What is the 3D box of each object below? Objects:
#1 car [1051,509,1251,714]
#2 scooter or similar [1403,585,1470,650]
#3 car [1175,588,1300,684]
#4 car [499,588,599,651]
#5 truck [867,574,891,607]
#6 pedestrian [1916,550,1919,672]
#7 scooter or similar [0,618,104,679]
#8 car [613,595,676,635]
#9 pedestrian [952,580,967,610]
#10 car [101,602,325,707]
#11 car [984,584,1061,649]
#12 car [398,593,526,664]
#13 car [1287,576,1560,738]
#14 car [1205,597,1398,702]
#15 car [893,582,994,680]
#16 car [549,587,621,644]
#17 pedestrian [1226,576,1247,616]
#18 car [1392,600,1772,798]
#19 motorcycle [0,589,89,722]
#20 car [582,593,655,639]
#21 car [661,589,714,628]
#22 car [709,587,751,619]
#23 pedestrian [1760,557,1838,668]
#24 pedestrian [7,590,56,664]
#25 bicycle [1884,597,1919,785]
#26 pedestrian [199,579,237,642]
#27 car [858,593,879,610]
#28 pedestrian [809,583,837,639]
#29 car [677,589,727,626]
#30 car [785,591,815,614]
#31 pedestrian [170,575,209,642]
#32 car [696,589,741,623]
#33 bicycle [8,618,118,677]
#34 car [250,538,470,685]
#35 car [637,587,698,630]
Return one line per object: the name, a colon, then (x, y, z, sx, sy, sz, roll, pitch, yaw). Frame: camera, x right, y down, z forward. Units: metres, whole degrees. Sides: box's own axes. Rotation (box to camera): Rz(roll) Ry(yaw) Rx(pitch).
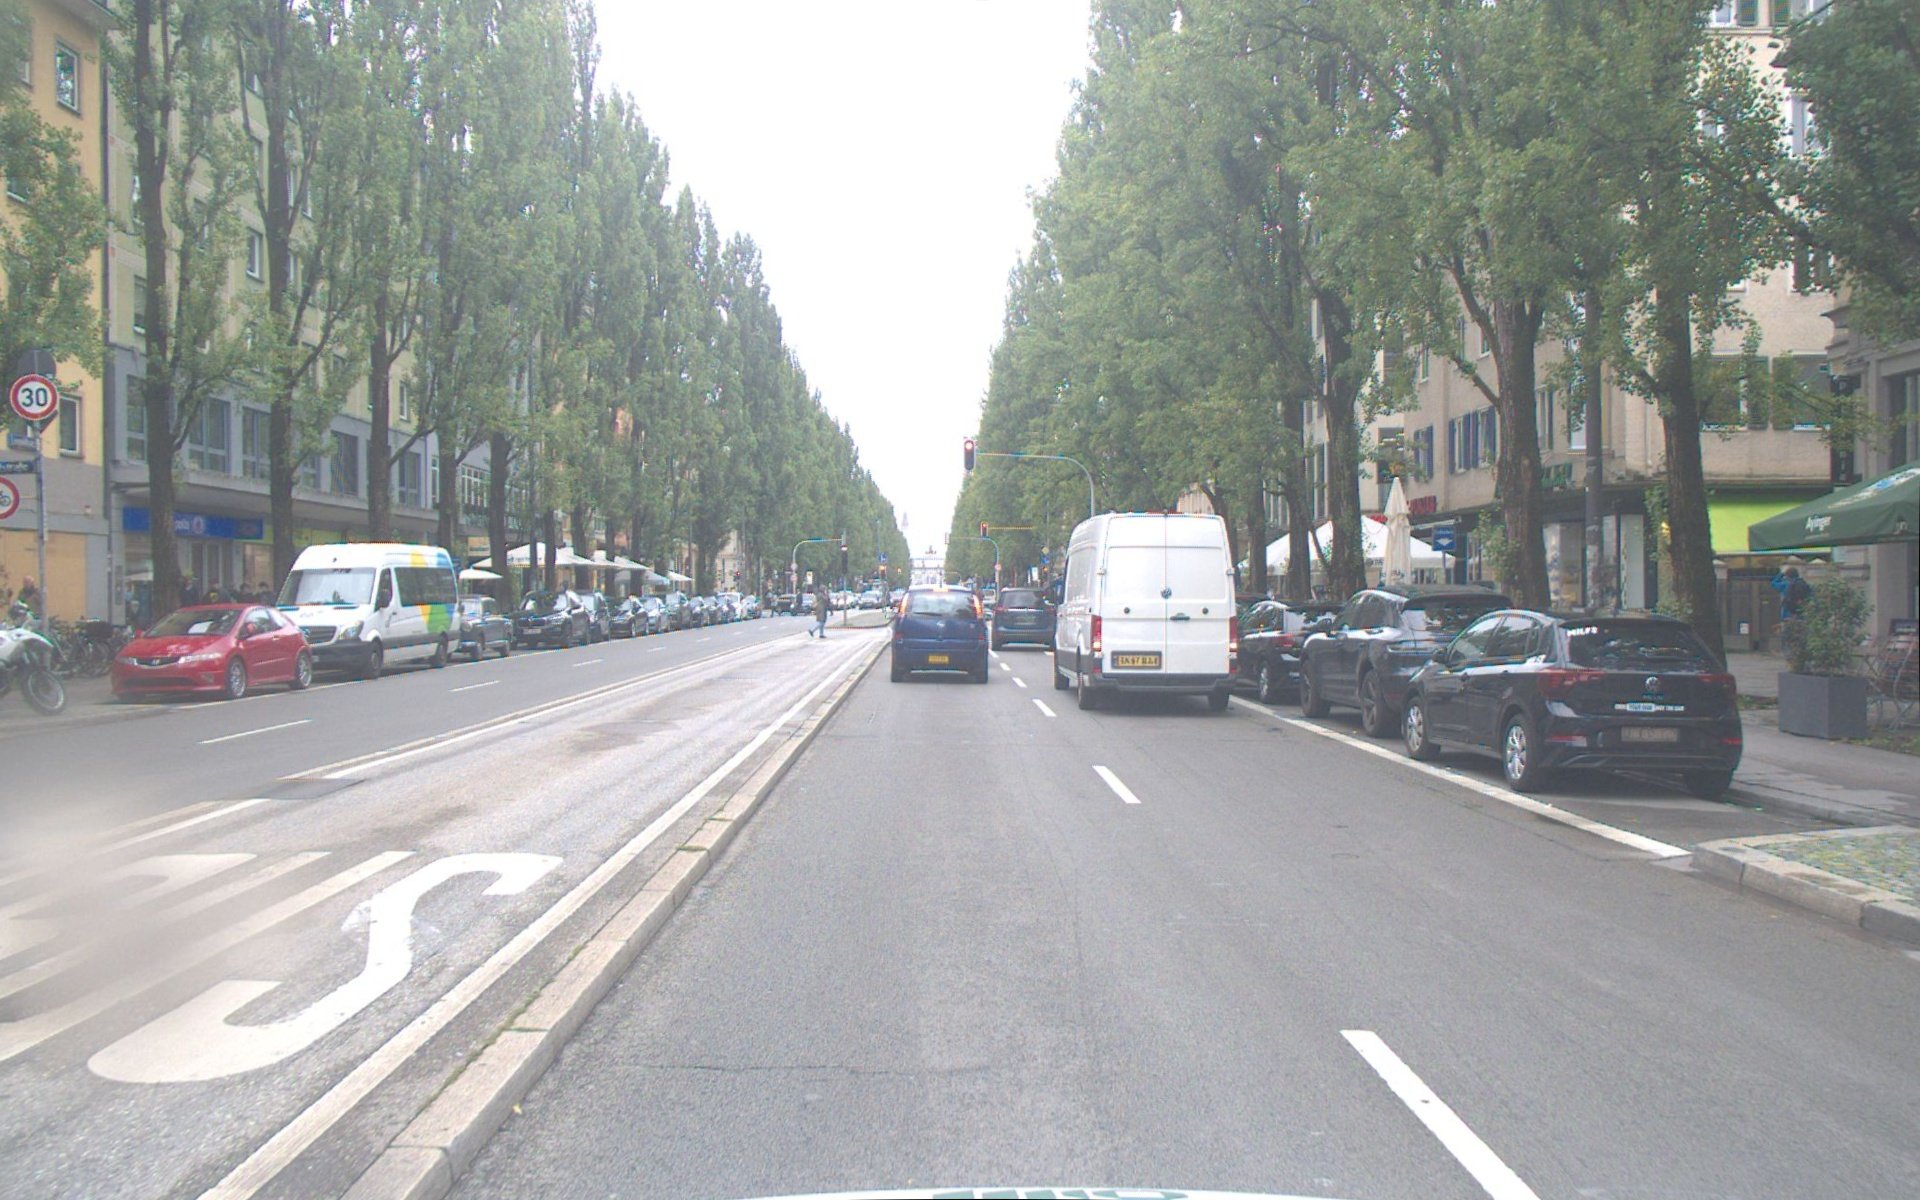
car: (2.566, 0.118, 23.994, 2.021, 2.536, 6.729, 0, 0, -1)
scooter or similar: (11.005, 0.387, 38.278, 0.624, 1.400, 2.493, -2, 1, -5)
car: (4.747, 0.588, 28.595, 1.560, 1.544, 2.728, 1, 0, -3)
car: (-12.061, 0.532, 48.841, 1.828, 1.693, 4.610, -2, 0, -1)
truck: (-8.630, -1.004, 176.445, 2.334, 3.405, 7.109, 0, 0, -1)
pedestrian: (14.659, 0.164, 24.329, 0.856, 1.827, 0.774, 0, 0, 17)
scooter or similar: (-16.429, 0.869, 29.788, 1.738, 1.044, 0.421, -1, 0, -4)
car: (-12.358, 0.559, 65.031, 1.698, 1.450, 4.142, -2, 0, -1)
pedestrian: (-0.031, -0.331, 103.215, 0.707, 1.859, 0.885, 1, 0, -11)
car: (-11.779, 0.803, 26.396, 1.702, 1.444, 4.147, -2, 0, -1)
car: (1.626, 0.418, 44.358, 1.858, 1.650, 3.999, 0, 0, -1)
car: (-12.110, 0.650, 40.480, 1.828, 1.579, 4.413, -2, 0, -1)
car: (5.268, 0.584, 19.432, 1.767, 1.666, 4.445, 1, 0, -3)
car: (5.012, 0.678, 24.872, 1.676, 1.418, 4.339, 0, 0, -5)
car: (-0.299, 0.495, 29.107, 1.637, 1.596, 3.999, 0, 0, -1)
car: (-12.279, 0.485, 54.337, 1.676, 1.751, 3.919, -2, 0, -4)
pedestrian: (11.990, -0.152, 71.735, 0.660, 1.715, 0.758, -1, -1, -5)
car: (5.170, 0.741, 14.334, 1.660, 1.441, 3.949, 0, 0, -3)
motorcycle: (-11.909, 0.663, 20.020, 2.329, 1.591, 0.703, 0, 0, -44)
car: (-12.288, 0.554, 59.805, 1.762, 1.514, 4.349, -2, 0, -1)
car: (-12.645, 0.380, 77.025, 1.828, 1.694, 4.119, -2, 0, -1)
car: (-12.880, 0.170, 92.759, 1.828, 1.694, 4.119, -2, 0, -1)
pedestrian: (13.193, 0.188, 26.025, 0.781, 1.707, 0.877, 0, 0, -1)
pedestrian: (-21.123, 0.601, 37.628, 0.683, 1.664, 0.727, -1, 0, 1)
bicycle: (7.439, 0.660, 11.285, 0.757, 1.372, 2.448, -4, 0, -2)
pedestrian: (-20.454, 0.290, 45.589, 0.683, 1.729, 0.727, -1, 0, 3)
car: (-8.120, 0.141, 147.156, 1.699, 1.491, 3.364, 0, 0, -1)
pedestrian: (-4.186, 0.325, 50.591, 0.843, 1.714, 0.626, 0, 0, -4)
car: (-12.750, 0.339, 81.973, 1.828, 1.694, 4.119, -2, 0, -1)
car: (-11.085, 0.148, 115.011, 1.663, 1.488, 4.712, -2, 0, -1)
pedestrian: (-21.258, 0.221, 45.634, 0.683, 1.826, 0.727, -1, 0, 3)
car: (-12.757, 0.279, 87.500, 1.828, 1.694, 4.119, -2, 0, -1)
bicycle: (-16.494, 0.869, 30.424, 1.738, 1.044, 0.421, -1, 0, -4)
car: (-11.888, 0.183, 33.430, 1.965, 2.612, 6.910, -2, 0, -1)
car: (-12.507, 0.340, 70.969, 1.828, 1.694, 4.400, -2, 0, -1)
